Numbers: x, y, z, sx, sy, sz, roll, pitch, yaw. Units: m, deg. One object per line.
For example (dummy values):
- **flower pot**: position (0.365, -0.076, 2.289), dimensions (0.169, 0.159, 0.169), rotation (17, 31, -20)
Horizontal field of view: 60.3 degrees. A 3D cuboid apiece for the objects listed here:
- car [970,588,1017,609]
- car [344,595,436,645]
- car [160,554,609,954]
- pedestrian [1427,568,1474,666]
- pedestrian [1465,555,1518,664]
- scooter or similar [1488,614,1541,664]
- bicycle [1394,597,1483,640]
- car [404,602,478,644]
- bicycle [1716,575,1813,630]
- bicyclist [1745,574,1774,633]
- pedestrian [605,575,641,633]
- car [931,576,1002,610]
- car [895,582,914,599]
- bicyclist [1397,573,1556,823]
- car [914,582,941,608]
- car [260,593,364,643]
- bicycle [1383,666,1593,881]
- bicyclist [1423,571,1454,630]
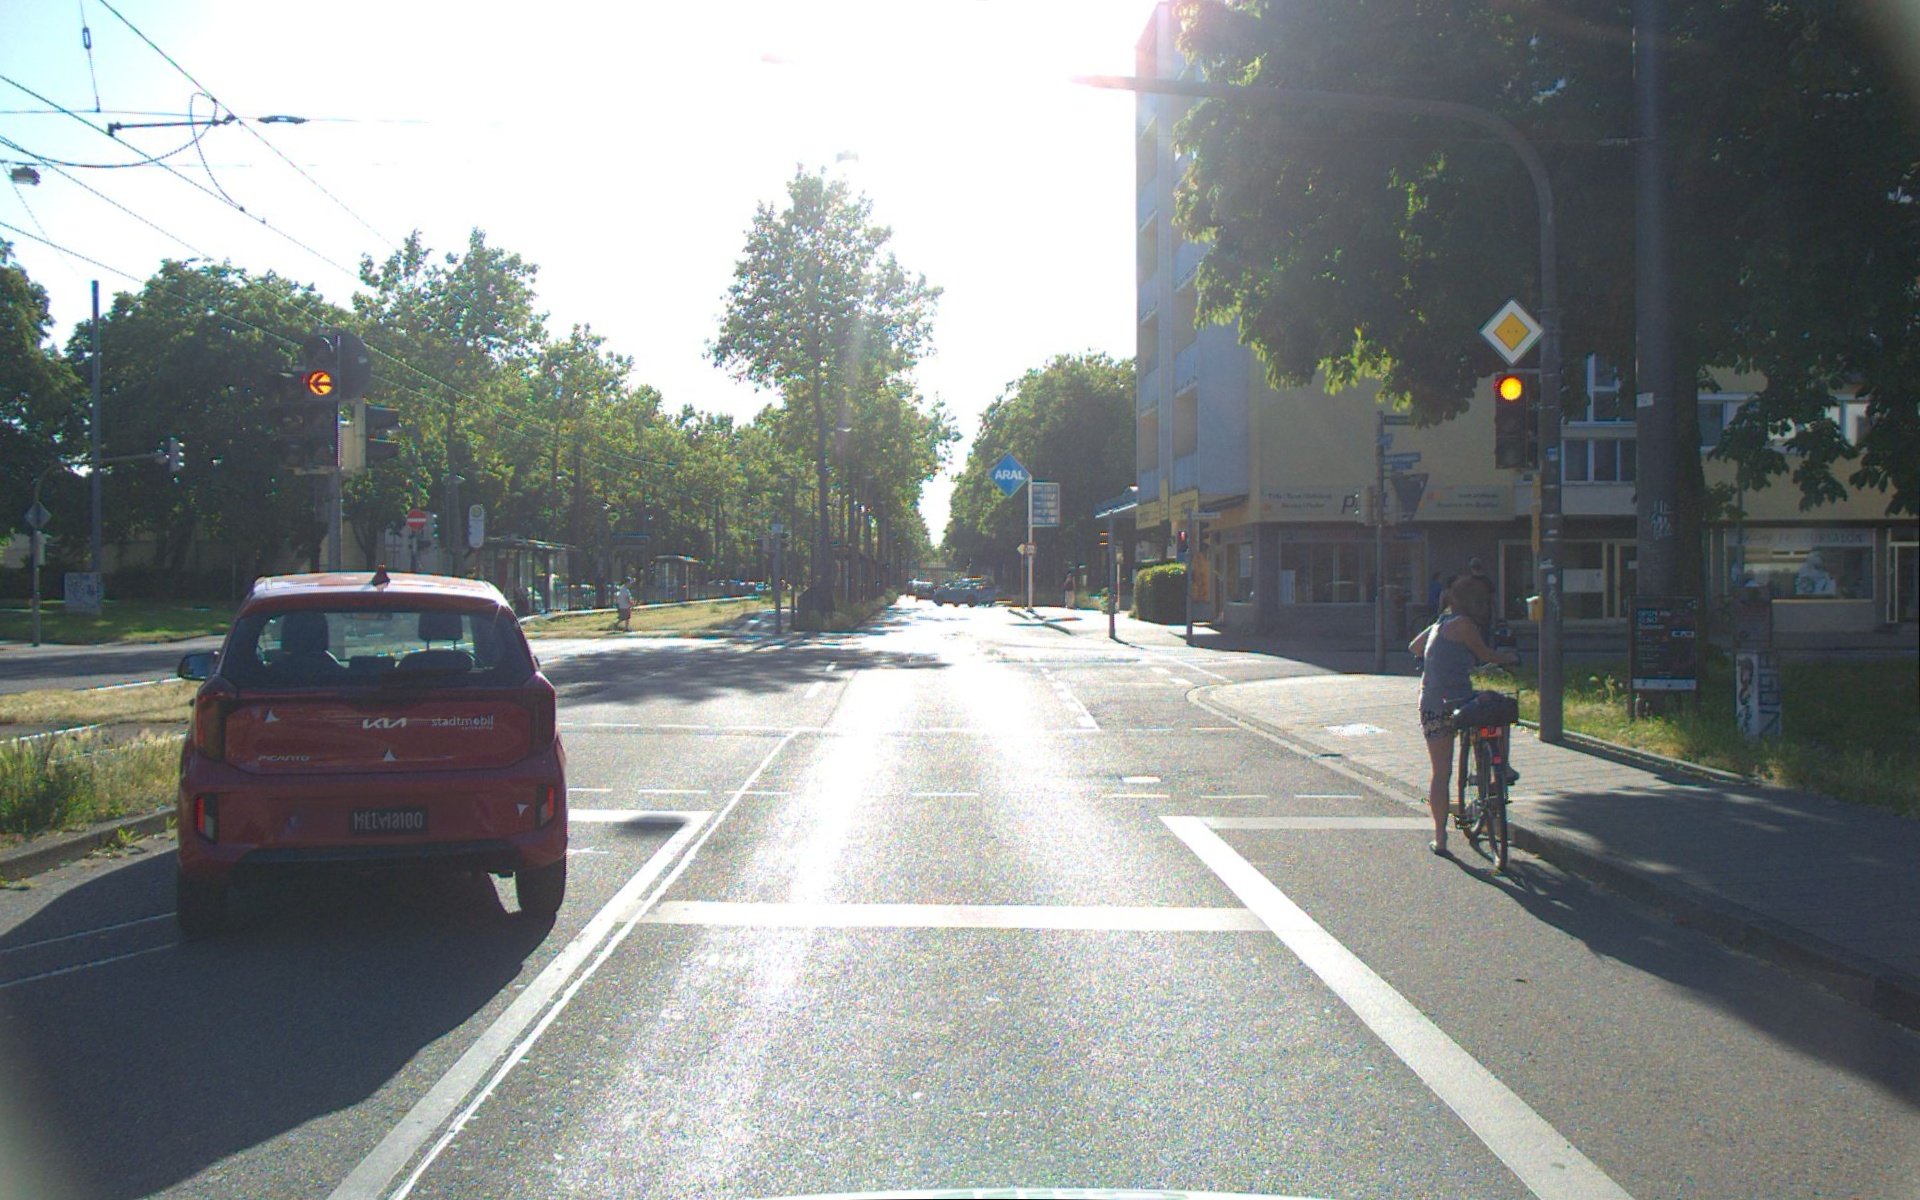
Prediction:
- **car**: position (3.053, -0.105, 151.434), dimensions (3.944, 1.780, 1.738), rotation (2, 0, -30)
- **car**: position (-19.138, 0.649, 55.682), dimensions (1.653, 1.560, 4.360), rotation (0, 1, -1)
- **car**: position (-2.918, 0.571, 8.367), dimensions (1.670, 1.534, 3.676), rotation (1, 1, -21)
- **pedestrian**: position (7.947, 0.278, 26.806), dimensions (0.633, 1.549, 0.496), rotation (2, 0, 11)
- **pedestrian**: position (8.625, 0.150, 26.851), dimensions (0.714, 1.711, 0.533), rotation (2, 0, 11)
- **scooter or similar**: position (8.787, 0.615, 26.221), dimensions (0.586, 0.750, 0.681), rotation (2, 0, -2)
- **bicycle**: position (12.549, 0.480, 43.401), dimensions (2.204, 1.004, 0.790), rotation (1, 5, 14)
- **car**: position (-19.240, 0.838, 61.454), dimensions (1.534, 1.426, 3.914), rotation (2, 1, -1)
- **bicycle**: position (22.465, 0.059, 46.194), dimensions (2.420, 1.424, 0.608), rotation (2, 0, -3)
- **bicyclist**: position (22.041, 0.102, 45.618), dimensions (0.516, 1.594, 0.464), rotation (2, 0, -4)
- **pedestrian**: position (-9.821, 0.114, 48.219), dimensions (0.873, 1.634, 0.613), rotation (2, 0, -1)
- **car**: position (0.372, -0.437, 100.785), dimensions (3.926, 1.892, 2.001), rotation (3, 1, 40)
- **car**: position (-5.720, -0.989, 170.596), dimensions (1.856, 1.639, 4.498), rotation (2, 1, -2)
- **bicyclist**: position (2.936, 0.535, 9.459), dimensions (0.625, 1.346, 0.803), rotation (2, 0, 1)
- **car**: position (-2.571, -0.407, 130.176), dimensions (1.929, 1.892, 3.998), rotation (2, 1, -3)
- **car**: position (-21.455, 0.576, 54.953), dimensions (1.770, 1.560, 4.360), rotation (0, 1, -1)
- **bicycle**: position (2.933, 0.923, 9.368), dimensions (0.634, 0.989, 1.804), rotation (2, 0, 2)
- **bicyclist**: position (12.537, 0.008, 43.351), dimensions (0.752, 1.496, 0.899), rotation (-1, 1, 16)
